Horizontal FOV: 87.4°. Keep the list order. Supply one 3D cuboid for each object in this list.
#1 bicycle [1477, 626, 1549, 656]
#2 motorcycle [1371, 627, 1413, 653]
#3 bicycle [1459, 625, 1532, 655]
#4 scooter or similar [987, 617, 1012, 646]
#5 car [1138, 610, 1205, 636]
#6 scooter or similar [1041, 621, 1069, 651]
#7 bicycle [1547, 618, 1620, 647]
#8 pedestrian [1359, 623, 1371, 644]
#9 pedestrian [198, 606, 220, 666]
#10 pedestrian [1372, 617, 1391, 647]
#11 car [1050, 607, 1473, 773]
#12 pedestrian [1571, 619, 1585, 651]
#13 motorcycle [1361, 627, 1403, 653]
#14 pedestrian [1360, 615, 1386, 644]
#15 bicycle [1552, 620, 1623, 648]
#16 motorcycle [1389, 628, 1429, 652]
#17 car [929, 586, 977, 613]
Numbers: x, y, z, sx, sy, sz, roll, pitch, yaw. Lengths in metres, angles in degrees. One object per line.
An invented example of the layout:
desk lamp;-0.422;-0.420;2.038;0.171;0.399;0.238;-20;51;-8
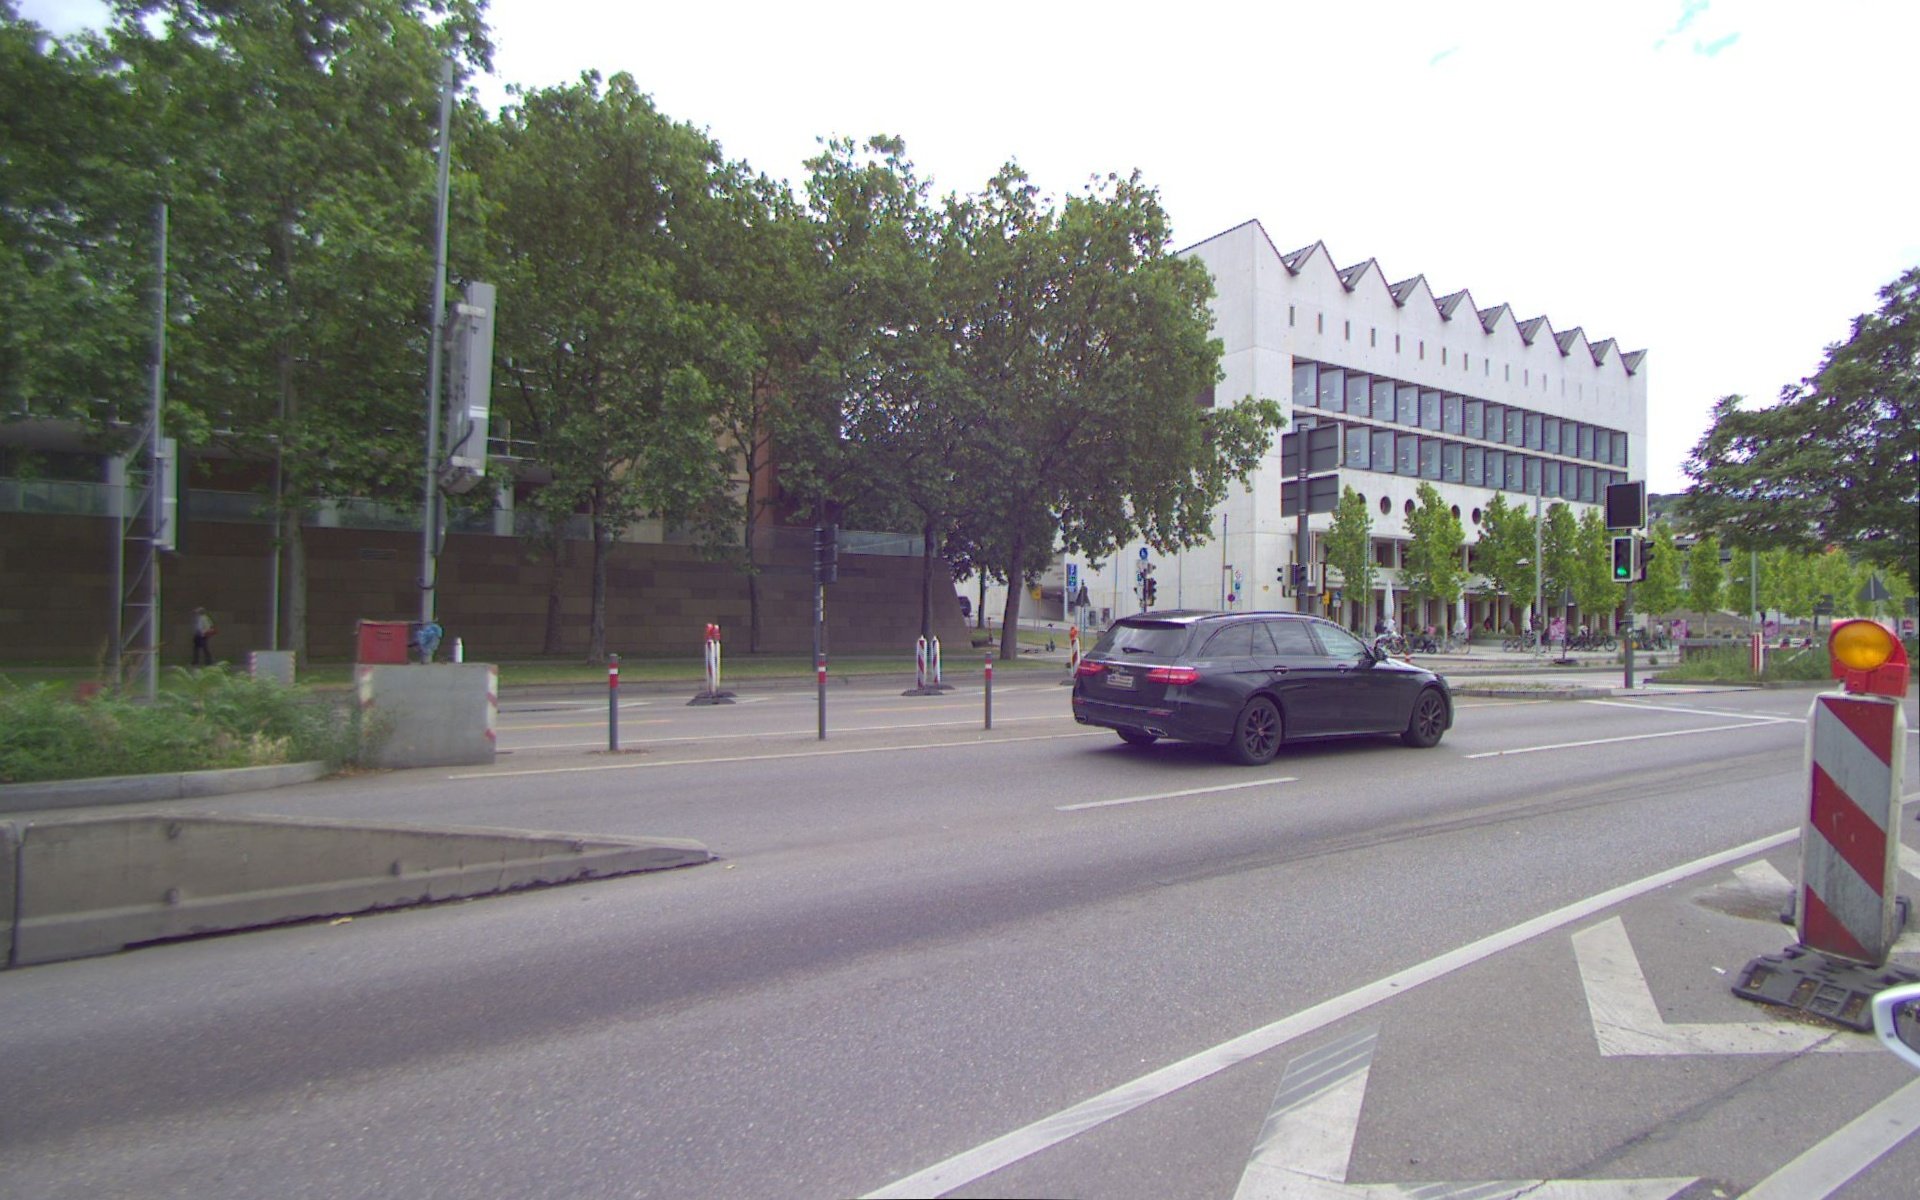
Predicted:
bicycle;32.417;2.393;58.979;1.170;1.706;3.593;1;-1;-32
motorcycle;21.728;1.996;50.579;1.858;1.249;0.657;0;-3;34
bicycle;30.550;2.262;57.424;1.170;1.706;3.593;1;-1;-32
scooter or similar;1.886;1.522;48.462;0.531;1.358;1.407;1;-1;-31
car;12.896;1.377;61.353;1.732;1.293;3.965;2;2;-31
scooter or similar;4.305;1.617;45.395;0.531;1.358;1.407;1;-1;-31
bicycle;37.973;1.961;61.224;1.174;1.706;3.581;1;-2;-41
pedestrian;26.253;2.177;65.112;0.559;1.344;0.516;3;-3;-31
pedestrian;-20.729;0.999;27.714;0.440;1.629;0.351;2;1;-38
pedestrian;22.007;1.668;52.436;0.865;1.577;0.598;0;-1;16
car;3.444;0.886;11.069;4.811;1.479;1.802;2;-1;-33
pedestrian;41.897;2.355;68.058;0.702;2.041;0.735;0;6;38
motorcycle;20.922;1.974;49.815;1.858;1.249;0.657;0;-3;34
pedestrian;23.525;1.688;57.265;0.751;1.589;1.094;2;1;-28
bicycle;39.057;2.087;62.607;1.174;1.706;3.581;1;-2;-41
motorcycle;23.960;2.126;53.575;1.858;1.249;0.657;0;-3;34
car;-0.596;-0.036;79.163;1.977;1.874;3.966;2;2;-31
